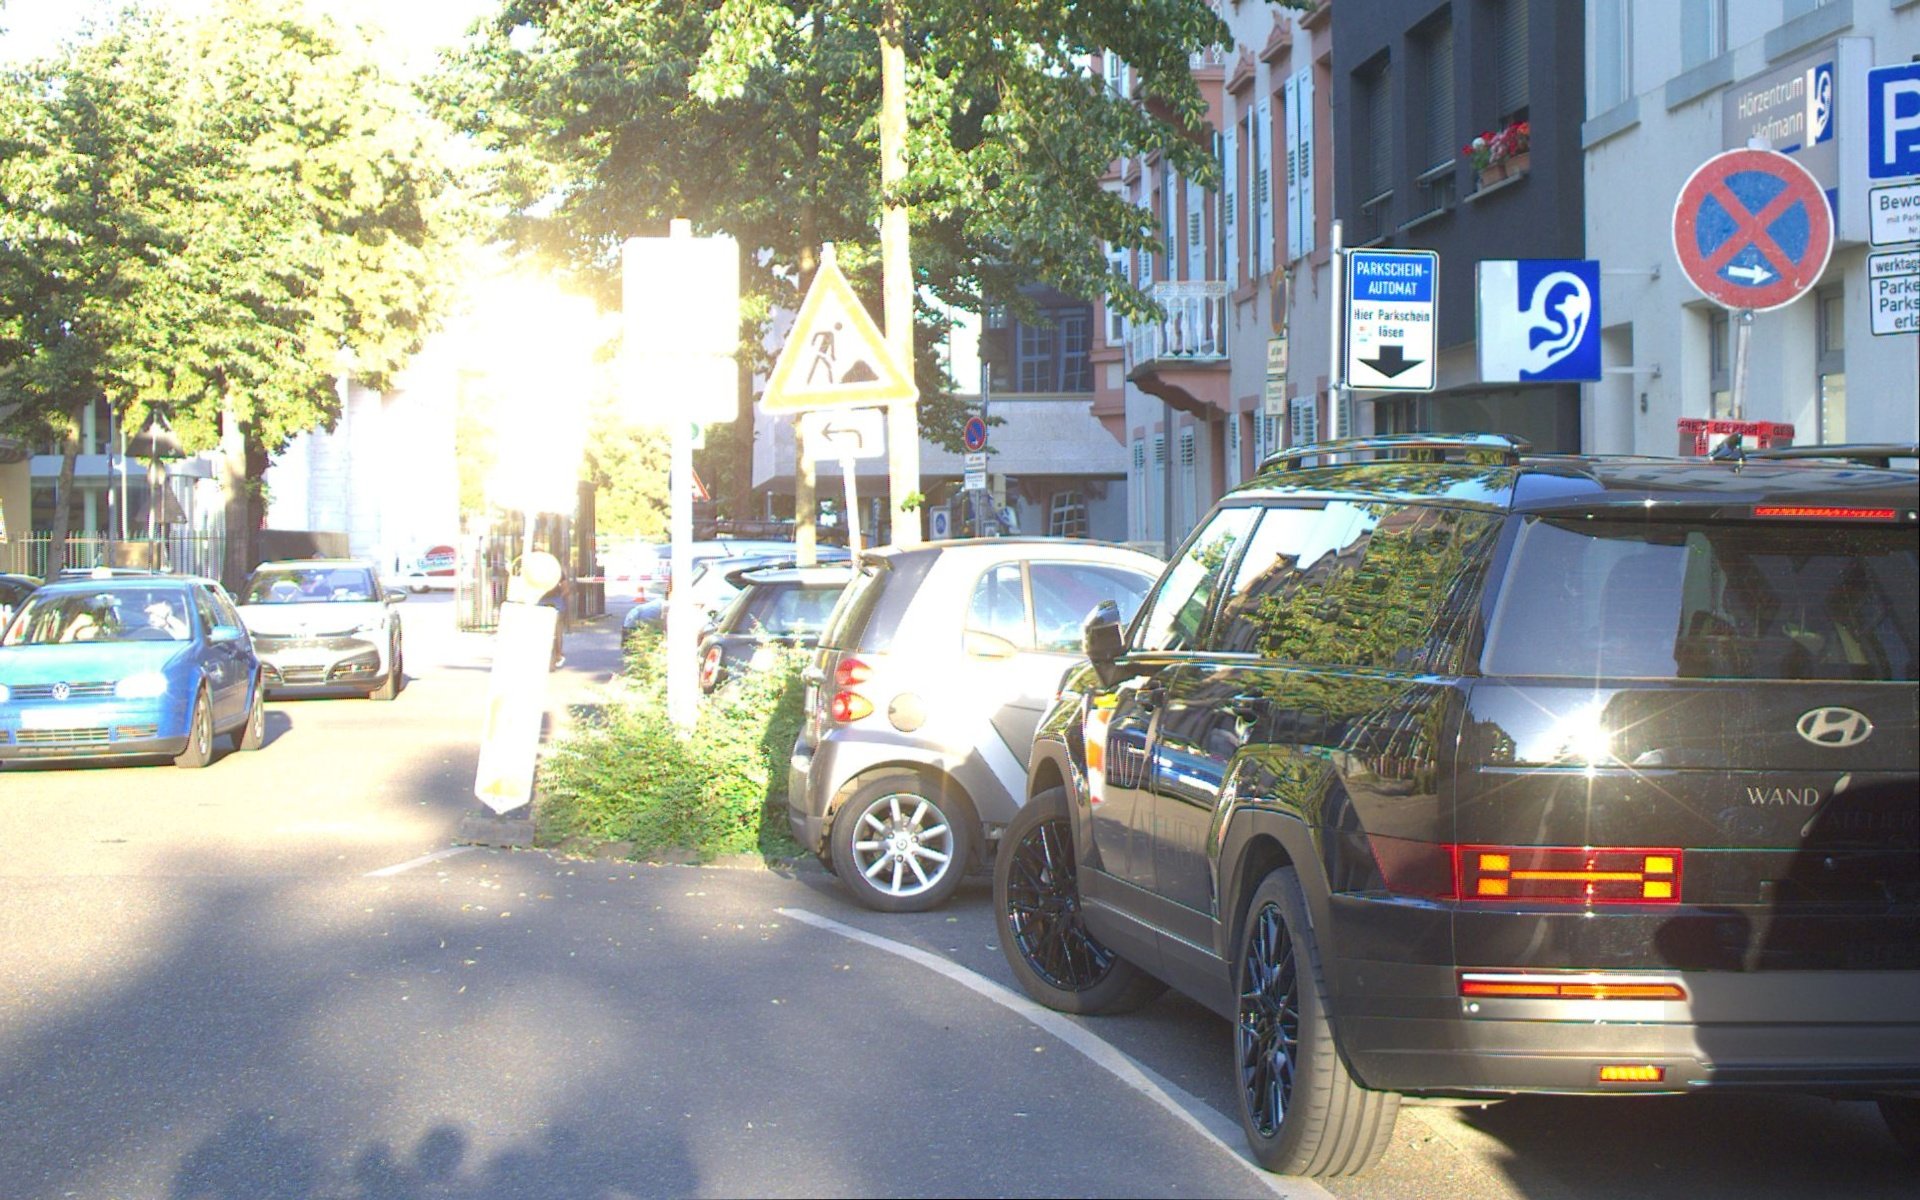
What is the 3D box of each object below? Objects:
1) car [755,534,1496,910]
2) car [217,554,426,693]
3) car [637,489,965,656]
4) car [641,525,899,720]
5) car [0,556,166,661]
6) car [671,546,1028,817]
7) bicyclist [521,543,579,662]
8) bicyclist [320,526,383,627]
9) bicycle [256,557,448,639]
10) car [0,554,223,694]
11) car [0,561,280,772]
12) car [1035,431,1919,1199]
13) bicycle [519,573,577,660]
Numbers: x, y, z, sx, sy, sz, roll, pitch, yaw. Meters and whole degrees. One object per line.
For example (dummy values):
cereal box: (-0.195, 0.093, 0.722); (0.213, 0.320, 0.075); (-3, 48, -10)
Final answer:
car: (0.664, 0.508, 14.902); (2.968, 1.531, 1.434); (1, 0, -8)
car: (-7.229, 0.234, 39.286); (1.884, 1.475, 4.460); (1, 0, -5)
car: (-1.947, -0.358, 43.063); (3.987, 2.007, 2.000); (-1, 1, 0)
car: (-2.108, 0.209, 36.781); (2.264, 1.760, 4.510); (5, 0, -8)
car: (-13.647, 0.098, 49.326); (4.102, 1.461, 1.890); (1, 0, -3)
car: (-0.865, 0.488, 23.542); (1.993, 1.662, 4.510); (1, 0, -7)
bicyclist: (-5.904, 0.030, 49.526); (0.780, 1.690, 1.007); (-1, 1, -7)
bicyclist: (-10.389, -0.408, 58.725); (1.004, 1.690, 0.783); (-1, 1, -9)
bicycle: (-10.382, -0.040, 58.743); (3.176, 1.346, 0.847); (-1, 1, -10)
car: (-10.261, 0.235, 37.460); (4.102, 1.461, 1.890); (1, 0, -3)
car: (-6.350, 0.441, 25.856); (1.838, 1.436, 4.332); (-1, 1, -4)
car: (1.444, 0.493, 9.214); (1.824, 1.689, 4.370); (1, 0, -7)
bicycle: (-5.933, 0.227, 49.540); (0.780, 1.200, 2.021); (-1, 1, -7)
